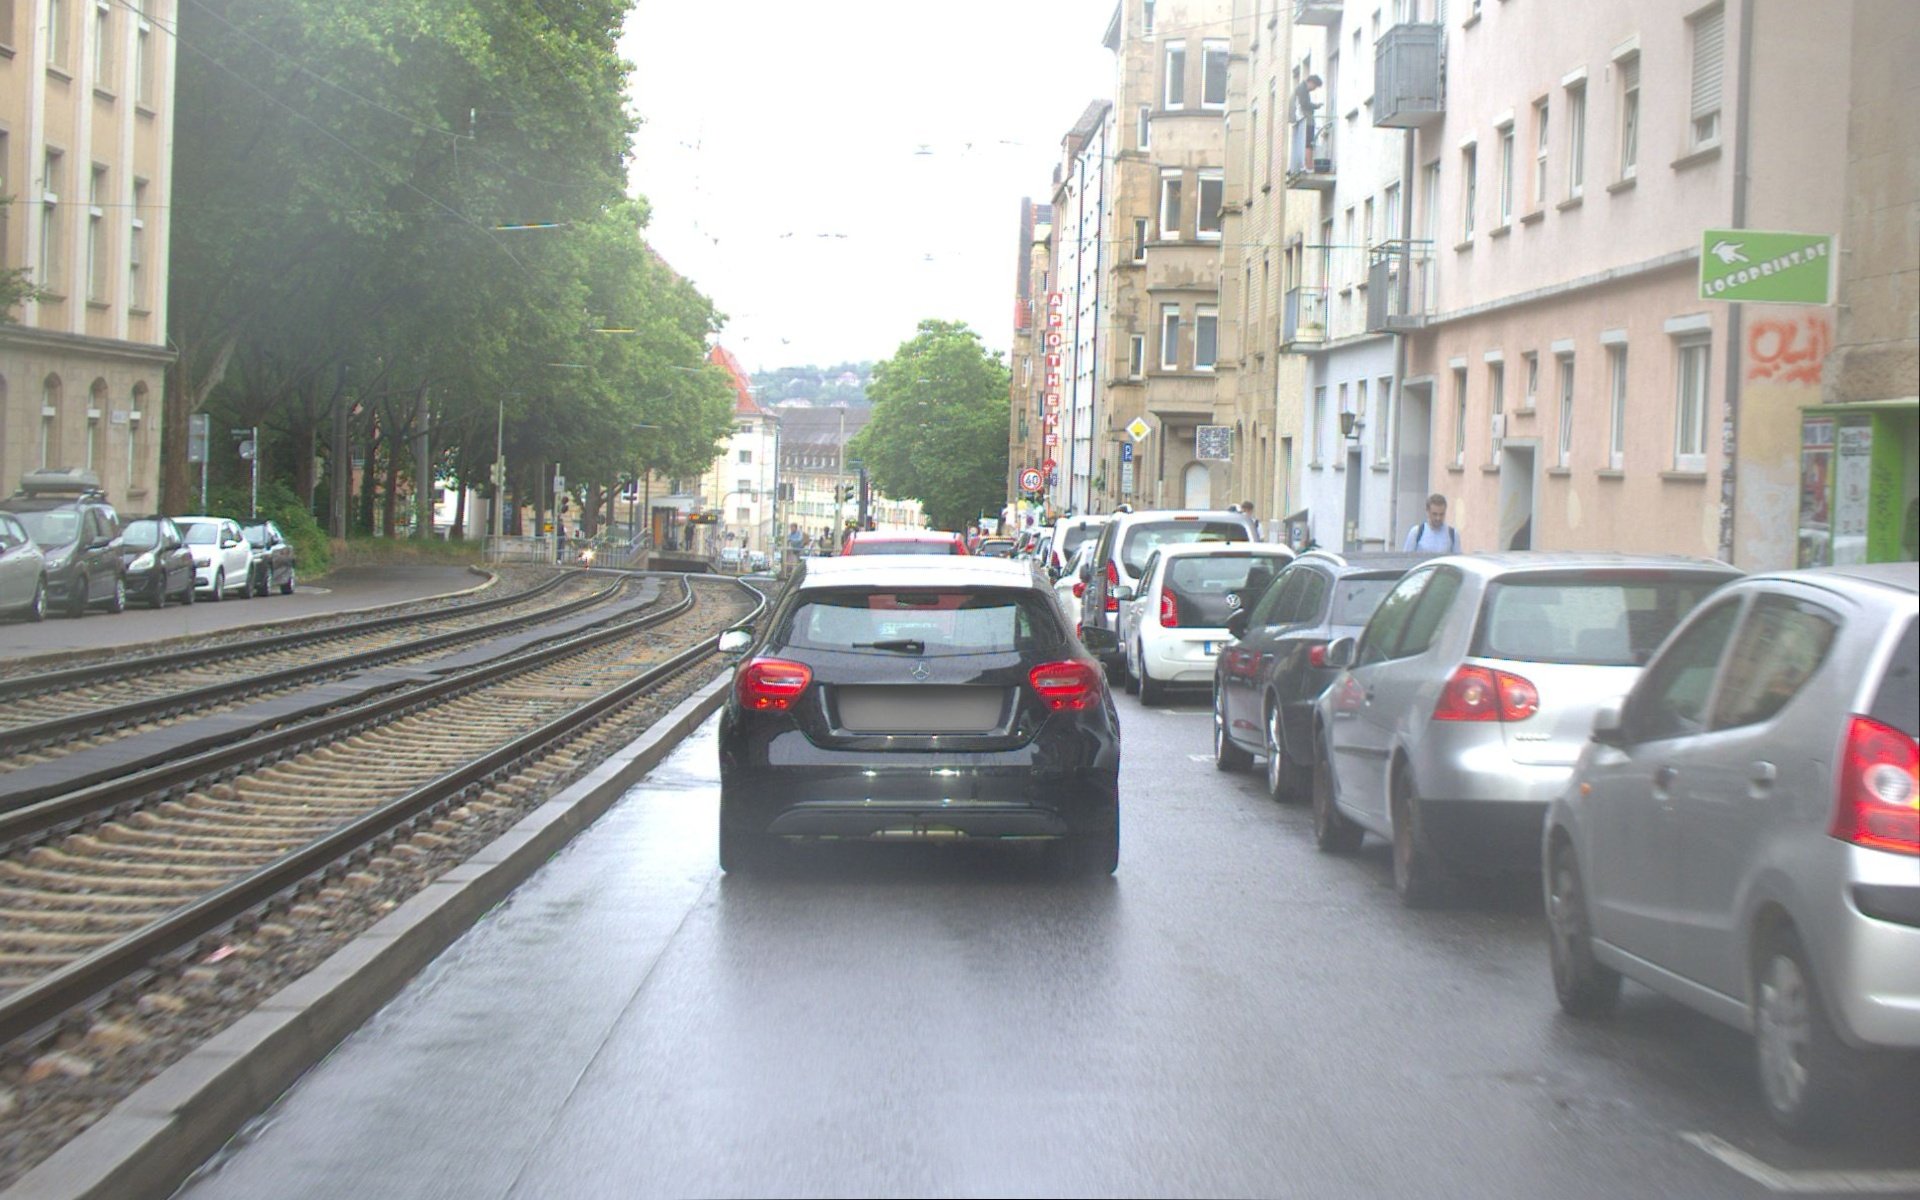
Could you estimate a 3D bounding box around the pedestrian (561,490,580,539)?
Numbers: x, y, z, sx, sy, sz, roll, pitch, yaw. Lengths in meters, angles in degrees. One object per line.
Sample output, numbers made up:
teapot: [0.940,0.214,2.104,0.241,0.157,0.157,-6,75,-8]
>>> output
pedestrian: [-13.998,-3.066,123.539,0.534,1.748,0.607,3,1,0]

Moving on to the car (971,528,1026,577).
car: [1.309,-1.659,118.404,1.827,1.612,3.864,0,2,0]

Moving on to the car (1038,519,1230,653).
car: [2.016,-0.214,41.176,1.871,1.450,4.903,1,2,-2]

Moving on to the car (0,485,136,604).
car: [-13.103,-0.811,49.494,1.576,1.637,4.072,-1,1,-1]

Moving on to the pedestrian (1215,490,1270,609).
pedestrian: [4.420,-0.796,53.790,0.746,1.827,1.039,-1,1,1]

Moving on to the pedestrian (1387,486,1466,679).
pedestrian: [4.318,-0.168,31.861,0.607,1.757,0.688,-1,1,-1]

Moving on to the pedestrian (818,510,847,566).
pedestrian: [-3.791,-1.842,101.995,0.806,1.628,0.892,0,1,0]

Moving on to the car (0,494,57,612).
car: [-13.042,-0.608,44.769,1.539,1.500,4.155,-1,1,-1]

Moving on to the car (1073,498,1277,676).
car: [2.204,-0.175,36.189,1.790,1.759,4.212,0,1,-1]

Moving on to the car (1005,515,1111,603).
car: [1.946,-0.852,69.656,1.766,1.662,4.333,2,1,-3]

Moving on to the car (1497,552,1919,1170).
car: [2.733,0.596,9.998,1.590,1.429,3.685,0,1,-3]

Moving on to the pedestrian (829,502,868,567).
pedestrian: [-3.466,-2.032,106.458,1.137,1.991,1.173,0,1,-4]

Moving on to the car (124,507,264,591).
car: [-13.263,-0.904,59.710,1.500,1.386,3.987,-1,1,1]

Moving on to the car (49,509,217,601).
car: [-13.221,-0.742,55.197,1.675,1.409,4.010,-1,1,1]

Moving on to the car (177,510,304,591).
car: [-13.404,-0.942,64.236,1.614,1.424,3.853,1,2,-1]

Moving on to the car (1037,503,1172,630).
car: [2.082,-0.528,50.595,1.828,1.744,4.467,1,1,1]

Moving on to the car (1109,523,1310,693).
car: [2.251,0.029,31.748,1.570,1.457,3.600,1,1,0]

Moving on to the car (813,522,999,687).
car: [-0.544,-0.002,35.440,1.785,1.575,4.000,1,1,-1]

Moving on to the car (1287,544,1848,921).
car: [2.536,0.481,15.259,1.668,1.429,3.957,0,1,-2]

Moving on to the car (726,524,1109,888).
car: [-0.213,0.407,16.204,1.580,1.499,3.575,1,1,-1]

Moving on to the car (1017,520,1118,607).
car: [1.967,-0.704,63.954,1.693,1.524,4.000,1,1,0]

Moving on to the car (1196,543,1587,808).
car: [2.504,0.377,20.919,1.669,1.405,4.312,0,1,-2]

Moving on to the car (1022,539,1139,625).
car: [2.032,-0.338,58.923,1.717,1.342,4.462,2,1,-1]
